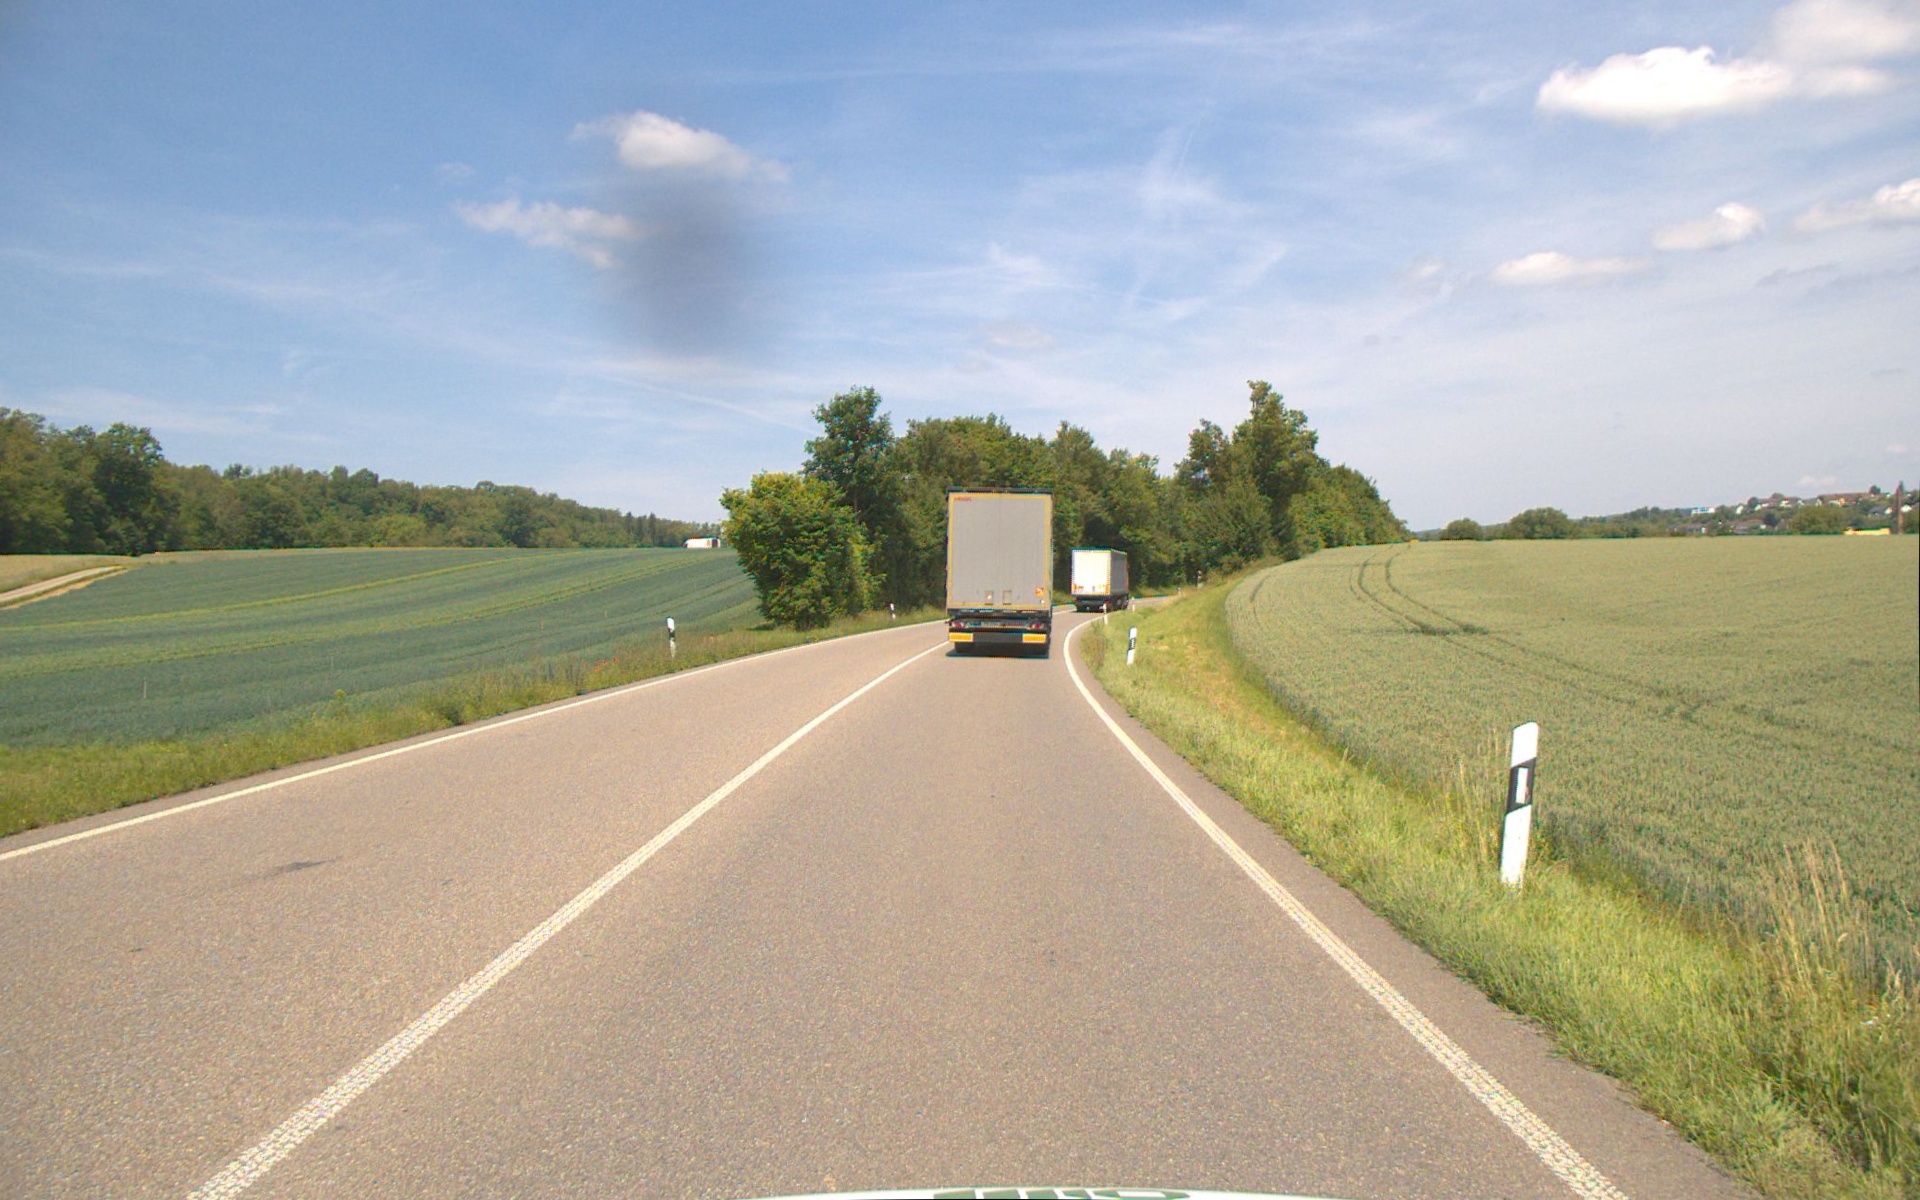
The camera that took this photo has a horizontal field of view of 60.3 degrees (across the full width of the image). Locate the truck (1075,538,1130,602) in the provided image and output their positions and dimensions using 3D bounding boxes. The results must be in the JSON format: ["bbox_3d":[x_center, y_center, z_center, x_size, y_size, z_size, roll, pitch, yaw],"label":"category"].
[{"bbox_3d":[10.286,-2.186,118.854,3.293,4.391,6.748,-1,2,10],"label":"truck"}]

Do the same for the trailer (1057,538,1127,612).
[{"bbox_3d":[9.104,-1.836,112.360,3.293,4.391,13.881,-1,3,10],"label":"trailer"}]

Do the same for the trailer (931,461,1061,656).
[{"bbox_3d":[1.244,-1.041,45.846,3.053,4.578,13.892,0,1,3],"label":"trailer"}]

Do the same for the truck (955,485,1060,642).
[{"bbox_3d":[1.574,-1.111,51.591,3.053,4.573,6.814,0,0,3],"label":"truck"}]
